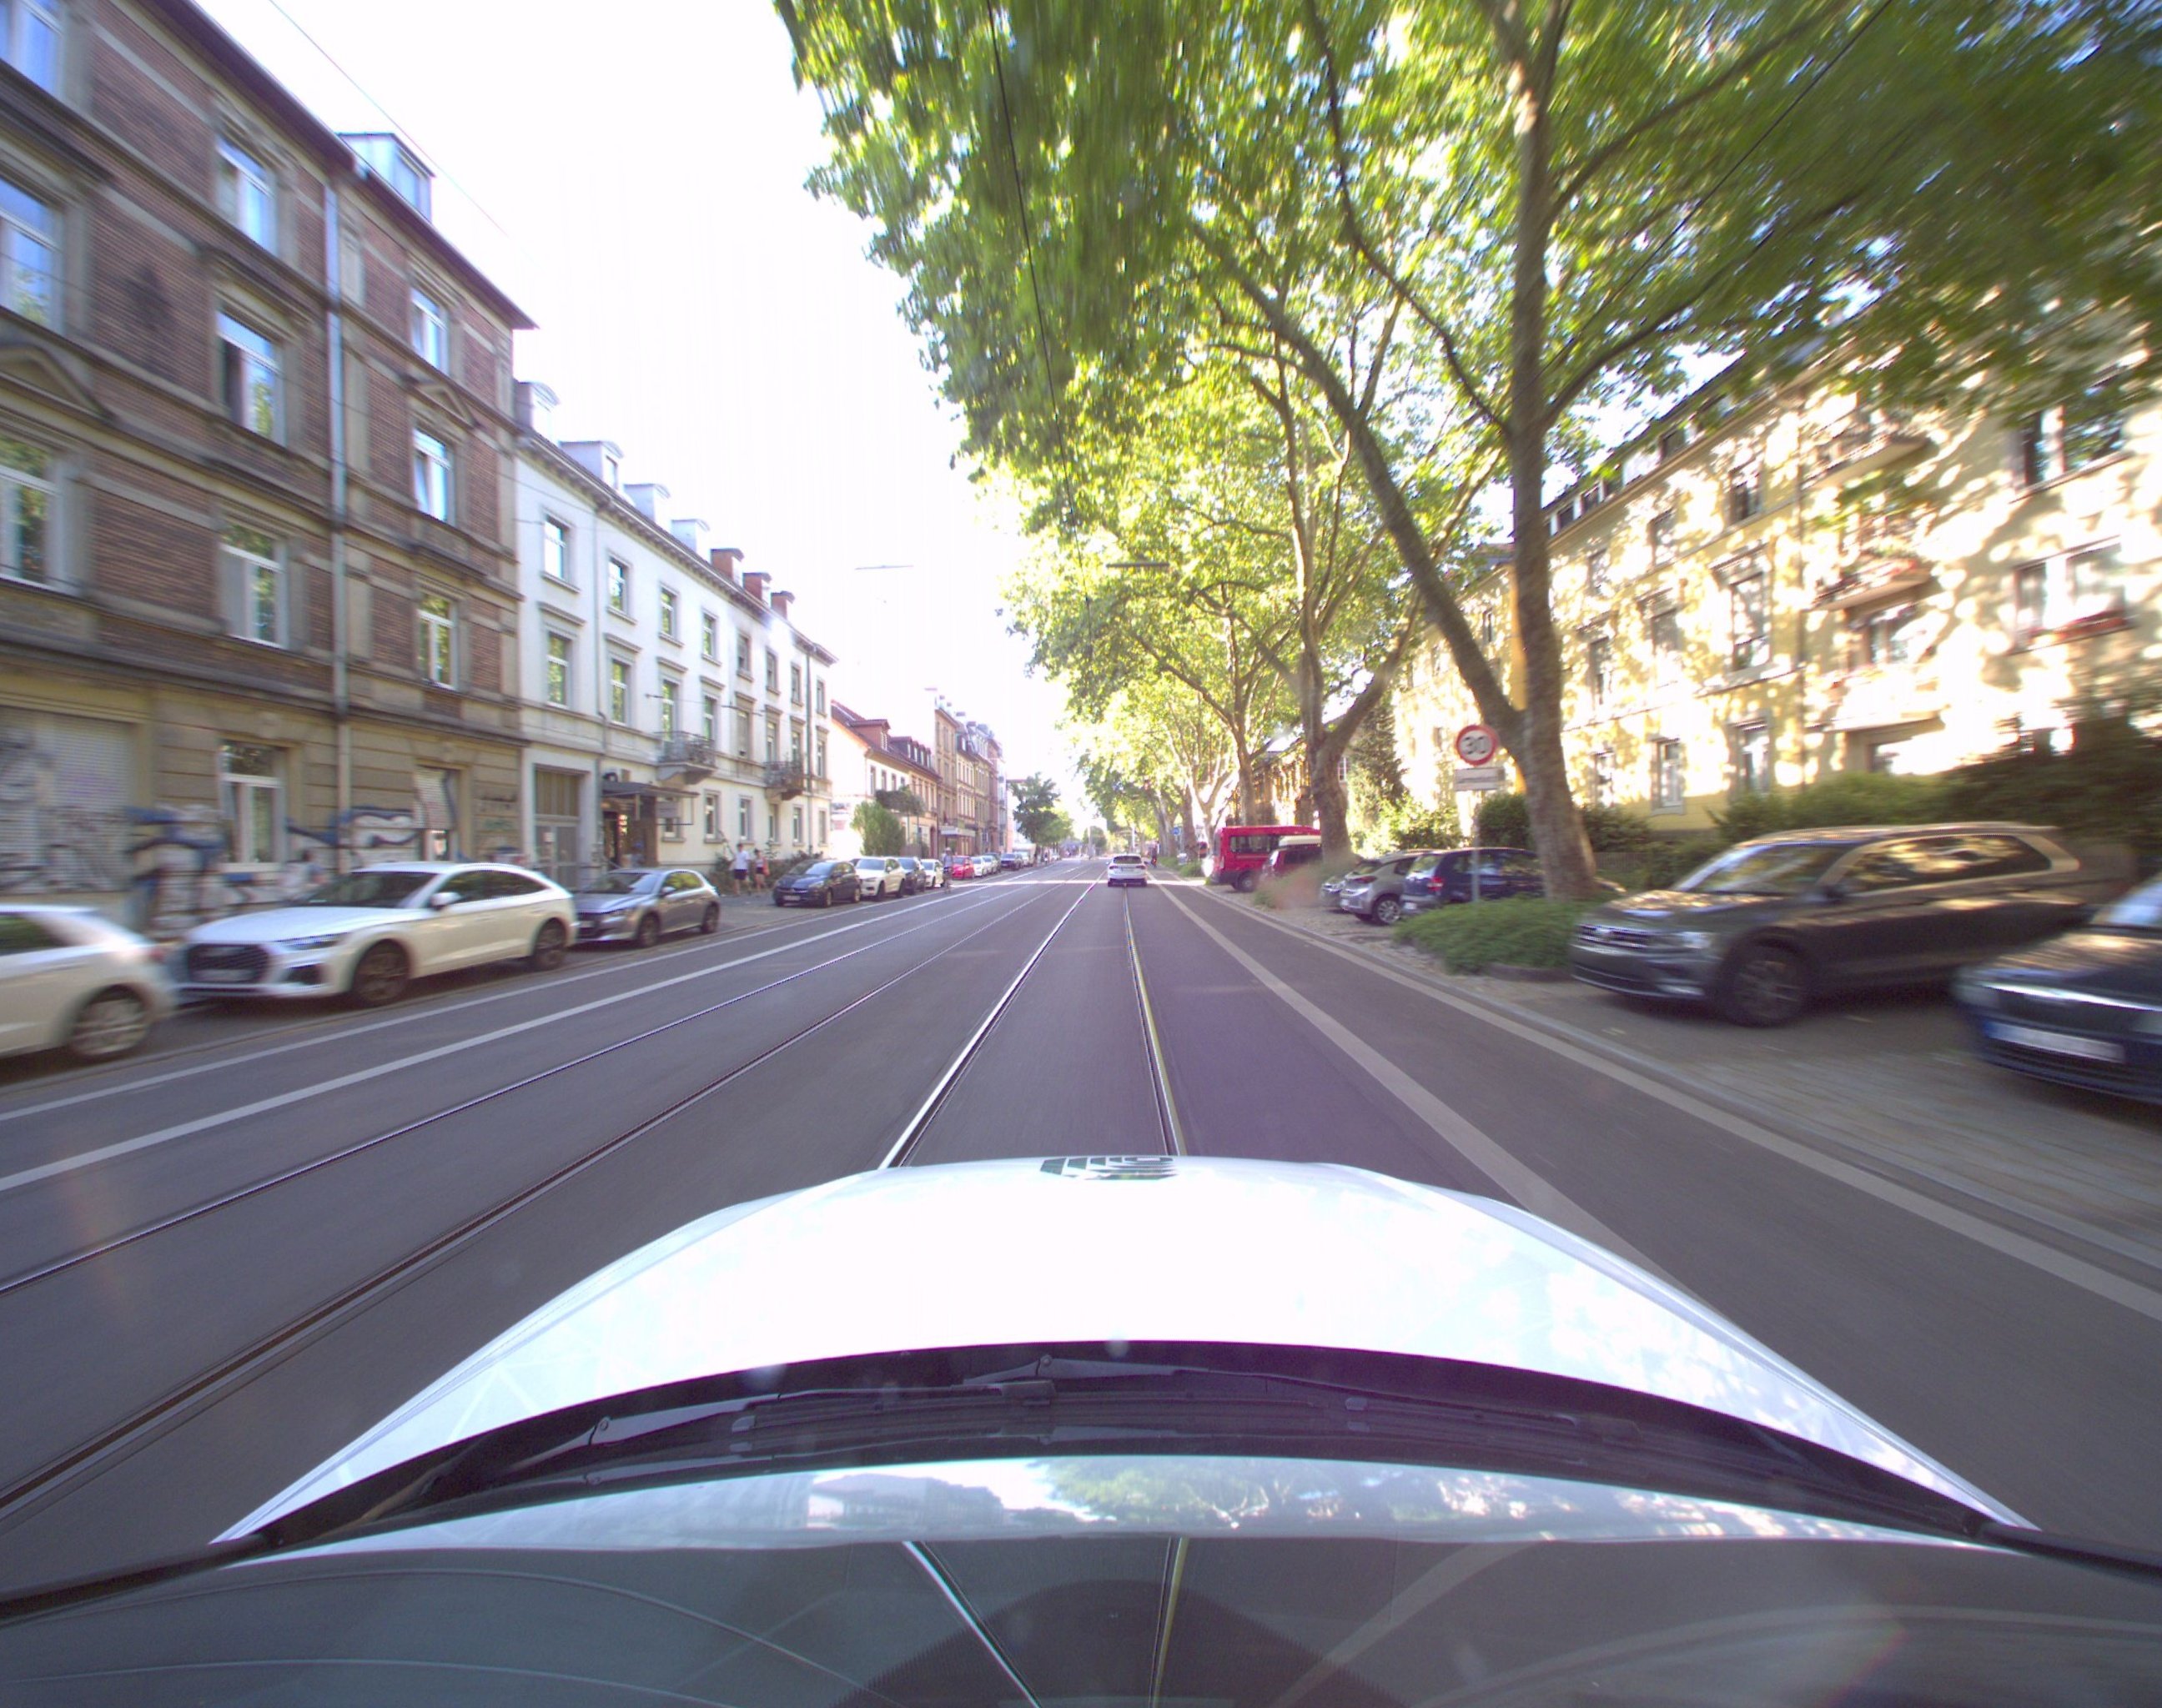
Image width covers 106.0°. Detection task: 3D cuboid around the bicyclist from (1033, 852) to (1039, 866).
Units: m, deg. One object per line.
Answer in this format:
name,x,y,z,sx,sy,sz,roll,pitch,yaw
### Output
bicyclist,-5.068,0.558,92.132,0.533,1.634,0.897,-3,0,4

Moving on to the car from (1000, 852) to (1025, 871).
car,-6.664,0.674,79.416,1.958,1.781,4.937,1,0,0

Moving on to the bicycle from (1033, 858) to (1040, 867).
bicycle,-4.994,0.942,92.019,0.482,1.047,2.041,-3,0,4

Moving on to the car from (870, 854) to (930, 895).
car,-8.106,0.871,36.927,1.852,1.703,4.654,-2,0,-3

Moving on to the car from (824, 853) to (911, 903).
car,-8.059,0.863,31.235,1.849,1.703,4.766,-2,0,3

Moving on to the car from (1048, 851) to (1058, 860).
car,-5.470,0.243,160.881,1.788,1.726,3.784,0,0,1

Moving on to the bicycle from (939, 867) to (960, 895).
bicycle,-5.593,1.135,34.660,0.479,1.086,1.847,-1,0,3

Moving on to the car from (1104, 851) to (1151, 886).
car,2.006,0.619,36.178,1.836,1.480,3.837,0,0,0

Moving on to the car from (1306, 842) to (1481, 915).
car,7.699,0.582,20.310,3.657,1.523,1.694,-4,0,1

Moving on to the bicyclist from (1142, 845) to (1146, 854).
bicyclist,11.596,-0.768,150.112,0.731,1.589,0.589,-2,0,14

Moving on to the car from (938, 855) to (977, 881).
car,-7.872,0.892,52.180,1.561,1.562,3.454,-2,0,6

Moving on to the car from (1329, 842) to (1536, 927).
car,7.270,0.604,17.108,3.582,1.517,1.694,-3,0,1

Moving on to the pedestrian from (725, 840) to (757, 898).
pedestrian,-12.117,0.535,29.074,0.757,2.013,0.830,-1,0,0

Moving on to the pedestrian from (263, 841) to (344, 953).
pedestrian,-12.037,0.642,12.611,0.656,1.665,0.773,0,0,33

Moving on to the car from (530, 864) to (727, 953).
car,-8.791,0.972,16.259,1.657,1.521,4.063,0,0,0

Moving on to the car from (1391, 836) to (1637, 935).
car,7.667,0.550,14.659,3.581,1.599,1.541,-2,-1,2

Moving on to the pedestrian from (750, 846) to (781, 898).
pedestrian,-11.218,0.627,28.946,0.757,1.821,0.829,-1,0,-1

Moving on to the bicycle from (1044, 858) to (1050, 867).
bicycle,-4.058,0.988,97.068,0.496,0.943,1.923,-3,0,4

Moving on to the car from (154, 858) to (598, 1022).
car,-8.911,0.929,11.032,1.780,1.723,4.720,0,0,2

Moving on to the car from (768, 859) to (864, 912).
car,-8.448,0.949,26.314,1.547,1.515,3.928,-2,0,4

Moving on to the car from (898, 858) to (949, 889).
car,-8.046,0.989,41.988,1.680,1.477,4.260,0,0,2

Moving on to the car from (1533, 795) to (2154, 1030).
car,7.033,0.491,7.868,4.249,1.719,1.848,-4,0,-1

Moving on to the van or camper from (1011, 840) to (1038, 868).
van or camper,-6.728,-0.006,97.494,2.207,3.140,7.120,0,0,4

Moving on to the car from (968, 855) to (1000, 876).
car,-7.465,0.853,63.026,1.820,1.502,4.451,0,0,1

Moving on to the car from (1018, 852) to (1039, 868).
car,-5.805,0.661,90.232,1.957,1.781,4.471,0,0,1

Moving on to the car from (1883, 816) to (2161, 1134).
car,7.582,0.556,4.822,4.015,1.643,1.681,-2,0,-1

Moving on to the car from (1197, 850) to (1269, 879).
car,8.450,0.568,45.471,3.736,1.508,1.682,1,0,2

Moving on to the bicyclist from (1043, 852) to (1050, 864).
bicyclist,-4.077,0.478,96.793,0.635,1.503,1.070,-2,0,3

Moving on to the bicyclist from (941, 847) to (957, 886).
bicyclist,-5.607,0.518,34.699,0.471,1.636,0.800,-1,0,3

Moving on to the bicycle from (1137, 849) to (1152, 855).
bicycle,11.667,-0.400,150.077,2.748,0.999,0.595,0,0,16

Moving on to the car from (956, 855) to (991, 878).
car,-7.581,0.856,57.786,1.821,1.502,4.687,0,0,0

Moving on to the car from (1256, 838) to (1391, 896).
car,7.887,0.438,26.729,3.807,1.649,1.766,-3,-1,-1

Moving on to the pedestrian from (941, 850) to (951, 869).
pedestrian,-11.858,0.480,71.612,0.773,1.634,0.654,0,0,-14

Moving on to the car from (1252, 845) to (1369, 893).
car,8.206,0.528,29.350,3.723,1.530,1.668,-2,0,-1

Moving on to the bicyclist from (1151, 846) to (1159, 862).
bicyclist,6.131,0.019,67.694,0.676,1.339,0.525,0,0,2

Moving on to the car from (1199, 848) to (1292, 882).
car,8.094,0.522,40.389,4.268,1.417,1.761,-3,0,3

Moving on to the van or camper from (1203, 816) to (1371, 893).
van or camper,7.843,0.004,31.427,5.797,2.519,2.287,-3,1,-1

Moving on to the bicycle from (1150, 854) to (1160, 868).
bicycle,6.167,0.543,67.710,0.677,1.155,2.966,0,0,2

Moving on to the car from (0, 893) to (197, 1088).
car,-9.075,1.073,5.599,1.695,1.420,3.996,0,0,-2

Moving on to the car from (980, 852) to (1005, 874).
car,-7.278,0.731,67.366,1.550,1.732,3.686,0,0,1

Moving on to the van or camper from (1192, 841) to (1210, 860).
van or camper,16.430,-0.453,111.405,2.018,2.464,5.114,0,0,4
